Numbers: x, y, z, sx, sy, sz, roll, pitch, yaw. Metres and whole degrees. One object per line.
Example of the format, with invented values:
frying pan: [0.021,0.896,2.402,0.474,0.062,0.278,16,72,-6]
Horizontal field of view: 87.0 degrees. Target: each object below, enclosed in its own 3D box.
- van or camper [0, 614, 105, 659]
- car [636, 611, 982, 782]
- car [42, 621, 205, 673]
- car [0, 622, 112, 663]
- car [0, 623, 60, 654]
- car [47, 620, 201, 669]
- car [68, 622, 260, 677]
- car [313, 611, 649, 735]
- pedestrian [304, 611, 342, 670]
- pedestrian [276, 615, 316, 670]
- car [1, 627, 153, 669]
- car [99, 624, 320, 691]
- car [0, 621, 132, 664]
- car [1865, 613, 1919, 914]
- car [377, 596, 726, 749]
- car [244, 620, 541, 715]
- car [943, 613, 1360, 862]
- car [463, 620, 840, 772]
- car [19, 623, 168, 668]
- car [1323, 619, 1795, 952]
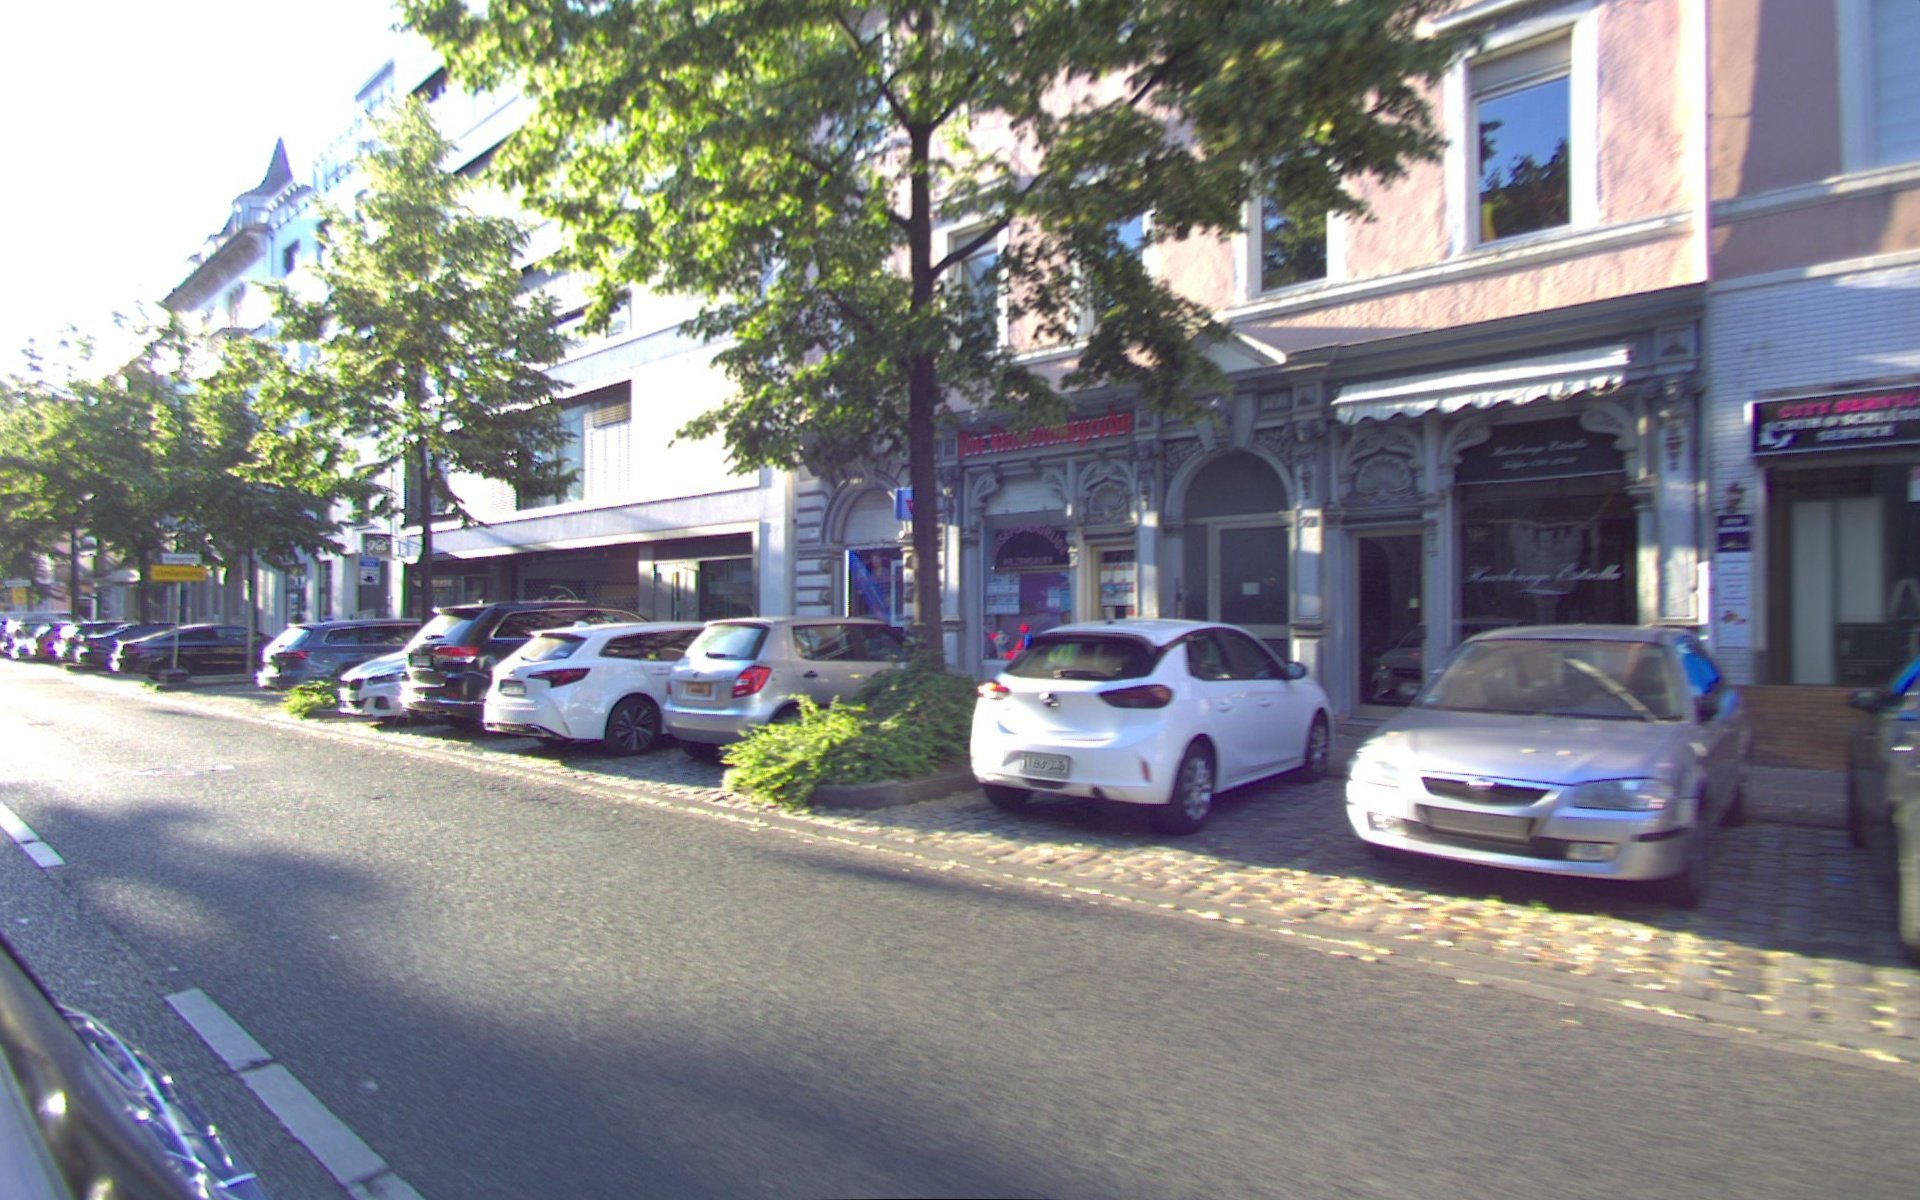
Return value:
van or camper: [-41.958,1.630,46.075,1.789,1.971,4.411,-2,-2,42]
car: [-1.512,0.902,11.091,1.714,1.513,3.521,-1,-1,39]
car: [-27.284,1.493,33.102,1.742,1.579,3.829,-2,-1,38]
car: [-39.654,1.800,43.937,1.732,1.681,4.138,-1,-1,42]
car: [-49.965,2.024,52.722,1.813,1.536,4.383,-1,-1,39]
car: [-28.875,1.505,35.040,1.742,1.579,3.829,-2,-1,38]
car: [-23.719,1.418,30.286,1.742,1.495,4.233,-2,-1,38]
car: [-7.302,1.012,15.800,1.888,1.608,4.362,-2,-1,39]
pedestrian: [-19.541,1.232,31.050,0.933,1.762,0.712,-2,0,41]
pedestrian: [-20.076,1.266,30.599,1.094,1.614,0.712,-2,0,41]
car: [-32.910,1.755,37.803,1.741,1.397,4.004,-2,-1,37]
car: [-18.871,1.380,25.591,1.743,1.495,4.230,-2,-1,41]
car: [-36.174,1.693,40.879,4.134,1.548,1.746,-1,0,-44]
car: [5.568,0.787,4.582,1.881,1.414,4.067,-1,-1,38]
car: [-5.500,0.862,14.063,1.887,1.786,4.109,-1,-1,38]
car: [-10.362,1.155,18.787,1.743,1.495,4.501,-2,-1,40]
car: [1.723,0.863,8.131,1.803,1.455,3.703,-1,-1,38]
car: [-3.536,1.001,12.253,1.764,1.432,4.109,-1,-1,38]
car: [-31.091,1.595,36.411,1.742,1.468,3.829,-2,-1,38]
car: [4.040,0.838,6.481,1.843,1.414,4.053,-1,-2,42]
